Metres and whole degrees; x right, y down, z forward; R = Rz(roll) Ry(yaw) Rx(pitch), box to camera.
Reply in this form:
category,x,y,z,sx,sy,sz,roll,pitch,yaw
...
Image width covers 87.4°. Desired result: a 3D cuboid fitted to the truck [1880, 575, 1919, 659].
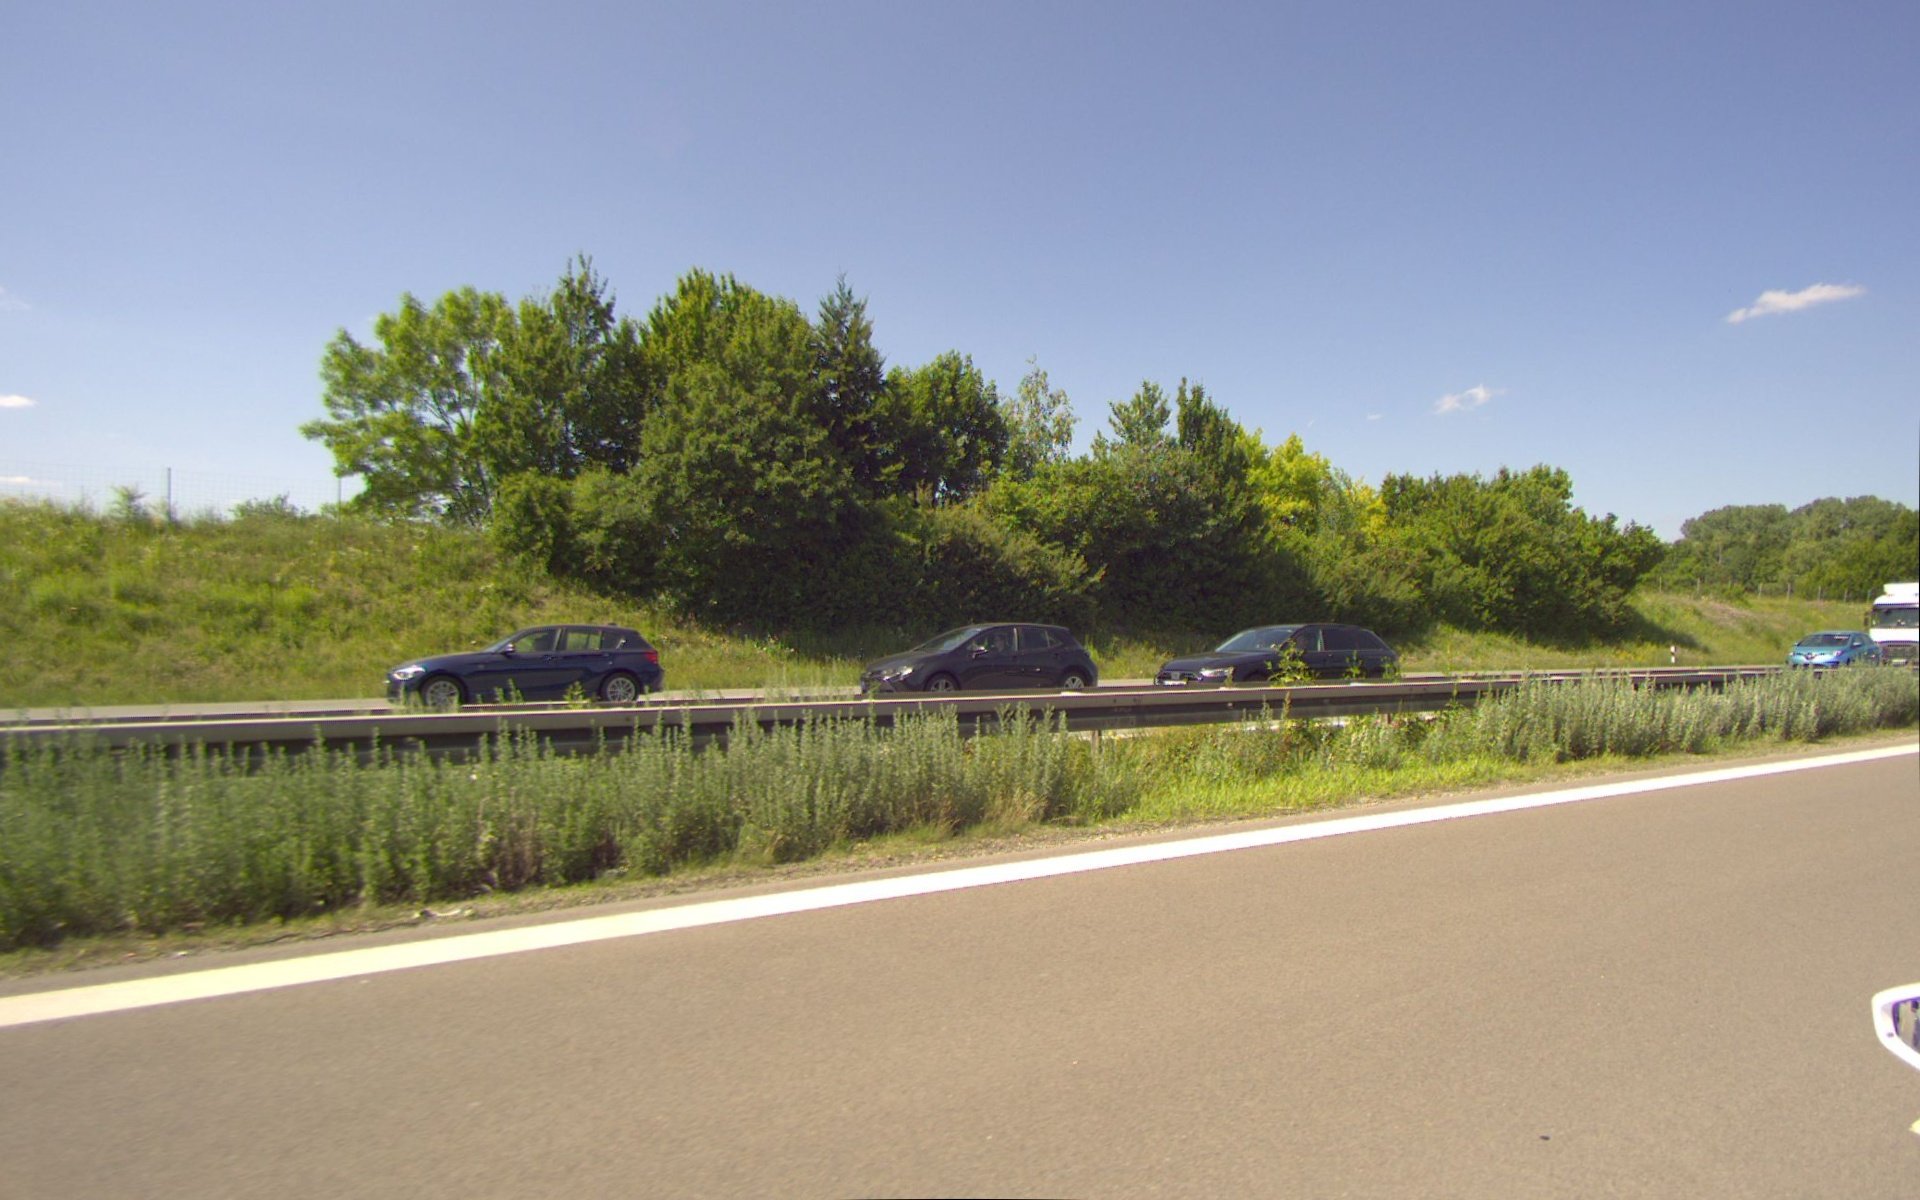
category,x,y,z,sx,sy,sz,roll,pitch,yaw
truck,53.231,0.975,53.225,13.797,4.132,2.660,1,-3,-31

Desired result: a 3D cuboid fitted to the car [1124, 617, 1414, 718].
category,x,y,z,sx,sy,sz,roll,pitch,yaw
car,5.129,1.062,16.487,4.709,1.446,1.886,1,-4,-31

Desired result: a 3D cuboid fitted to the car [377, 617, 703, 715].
category,x,y,z,sx,sy,sz,roll,pitch,yaw
car,-7.018,1.075,16.972,4.867,1.457,1.886,1,-4,-31

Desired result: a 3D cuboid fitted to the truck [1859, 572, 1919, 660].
category,x,y,z,sx,sy,sz,roll,pitch,yaw
truck,47.546,0.860,49.817,6.005,4.132,2.660,1,-3,-31

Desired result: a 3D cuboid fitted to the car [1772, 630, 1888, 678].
category,x,y,z,sx,sy,sz,roll,pitch,yaw
car,29.931,1.822,34.536,4.300,1.530,1.785,1,-1,-31

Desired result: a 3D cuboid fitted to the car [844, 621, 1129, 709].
category,x,y,z,sx,sy,sz,roll,pitch,yaw
car,0.512,1.093,17.454,4.709,1.357,1.886,1,-4,-31
